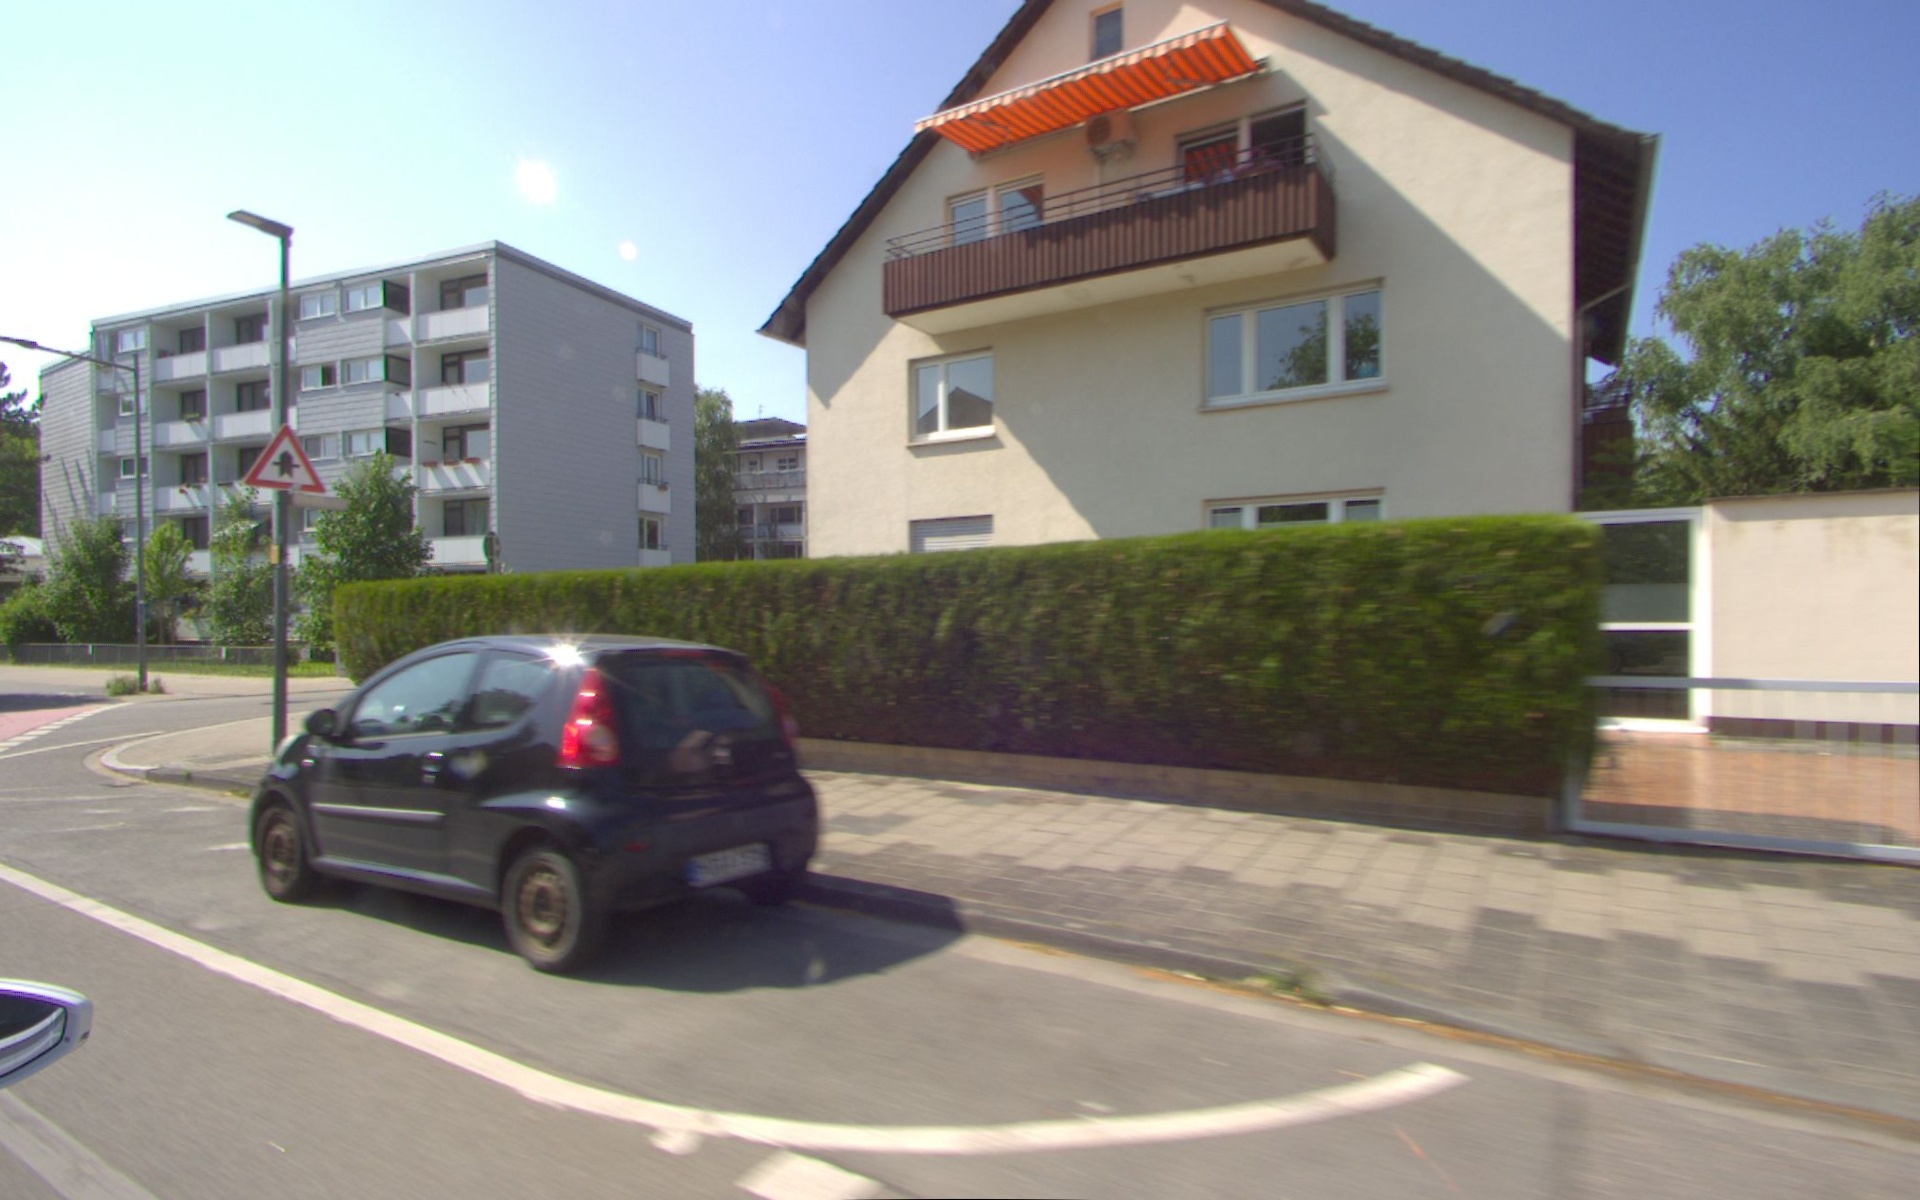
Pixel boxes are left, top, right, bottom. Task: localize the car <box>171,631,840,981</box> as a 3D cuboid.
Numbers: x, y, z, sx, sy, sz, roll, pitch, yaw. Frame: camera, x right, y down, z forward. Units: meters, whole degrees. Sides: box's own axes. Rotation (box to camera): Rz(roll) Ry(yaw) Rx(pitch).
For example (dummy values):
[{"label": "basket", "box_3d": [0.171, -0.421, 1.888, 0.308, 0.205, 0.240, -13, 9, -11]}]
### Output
[{"label": "car", "box_3d": [-2.738, 0.899, 5.784, 3.943, 1.407, 1.614, -1, -2, 32]}]
